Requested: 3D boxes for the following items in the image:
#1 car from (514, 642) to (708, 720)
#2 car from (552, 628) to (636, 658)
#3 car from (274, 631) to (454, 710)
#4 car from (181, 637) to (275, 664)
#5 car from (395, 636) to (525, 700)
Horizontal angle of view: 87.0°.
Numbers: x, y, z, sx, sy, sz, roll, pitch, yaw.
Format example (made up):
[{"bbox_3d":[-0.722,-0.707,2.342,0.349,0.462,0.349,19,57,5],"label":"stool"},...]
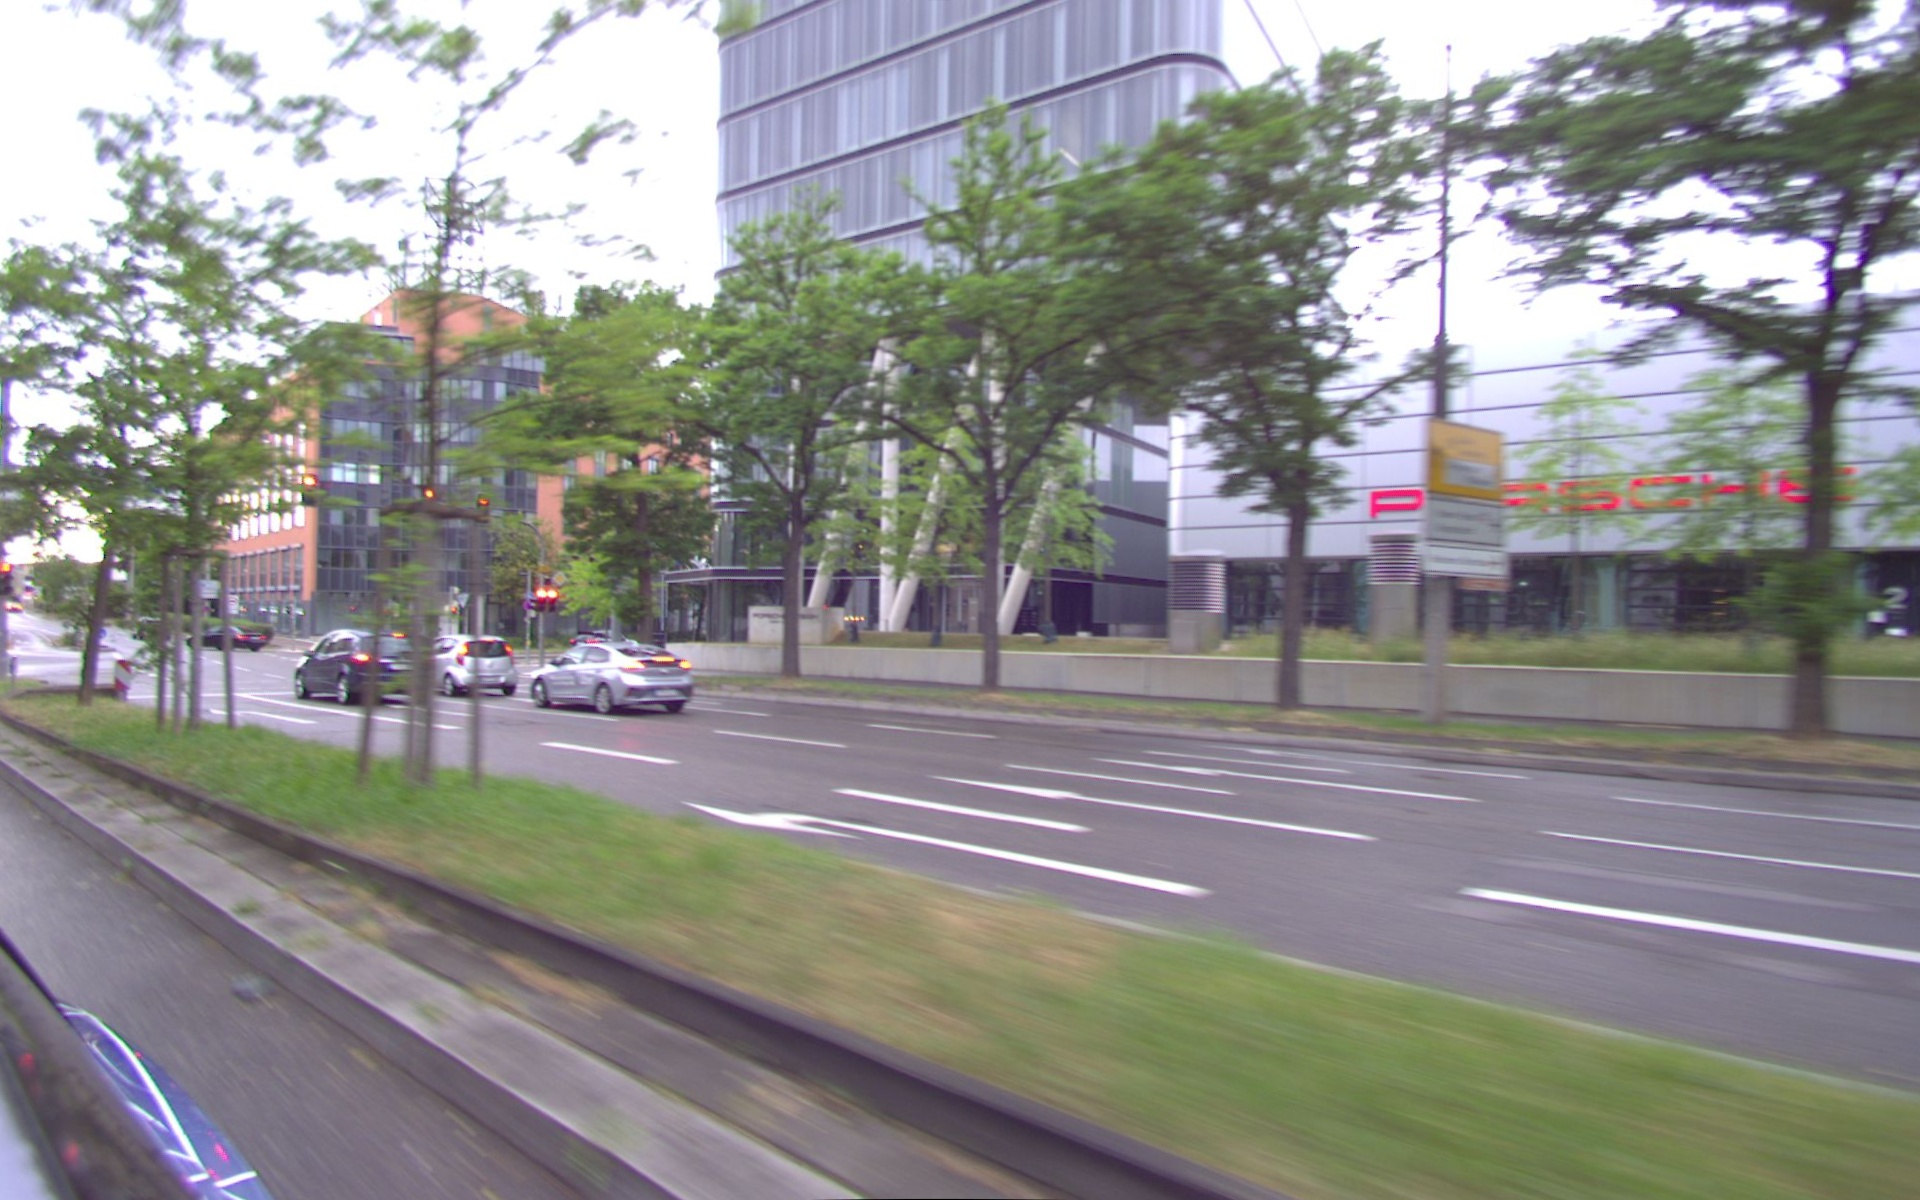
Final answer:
[{"bbox_3d":[-7.495,1.653,21.503,4.653,1.422,1.795,-1,-4,42],"label":"car"},{"bbox_3d":[-22.072,2.545,61.248,1.982,1.679,5.395,0,-1,16],"label":"car"},{"bbox_3d":[-13.784,1.556,23.270,5.117,1.628,1.973,-2,-4,41],"label":"car"},{"bbox_3d":[-42.247,2.915,58.476,3.940,1.373,1.855,2,-3,-4],"label":"car"},{"bbox_3d":[-13.244,1.761,26.733,3.815,1.532,1.731,-1,-3,41],"label":"car"}]
